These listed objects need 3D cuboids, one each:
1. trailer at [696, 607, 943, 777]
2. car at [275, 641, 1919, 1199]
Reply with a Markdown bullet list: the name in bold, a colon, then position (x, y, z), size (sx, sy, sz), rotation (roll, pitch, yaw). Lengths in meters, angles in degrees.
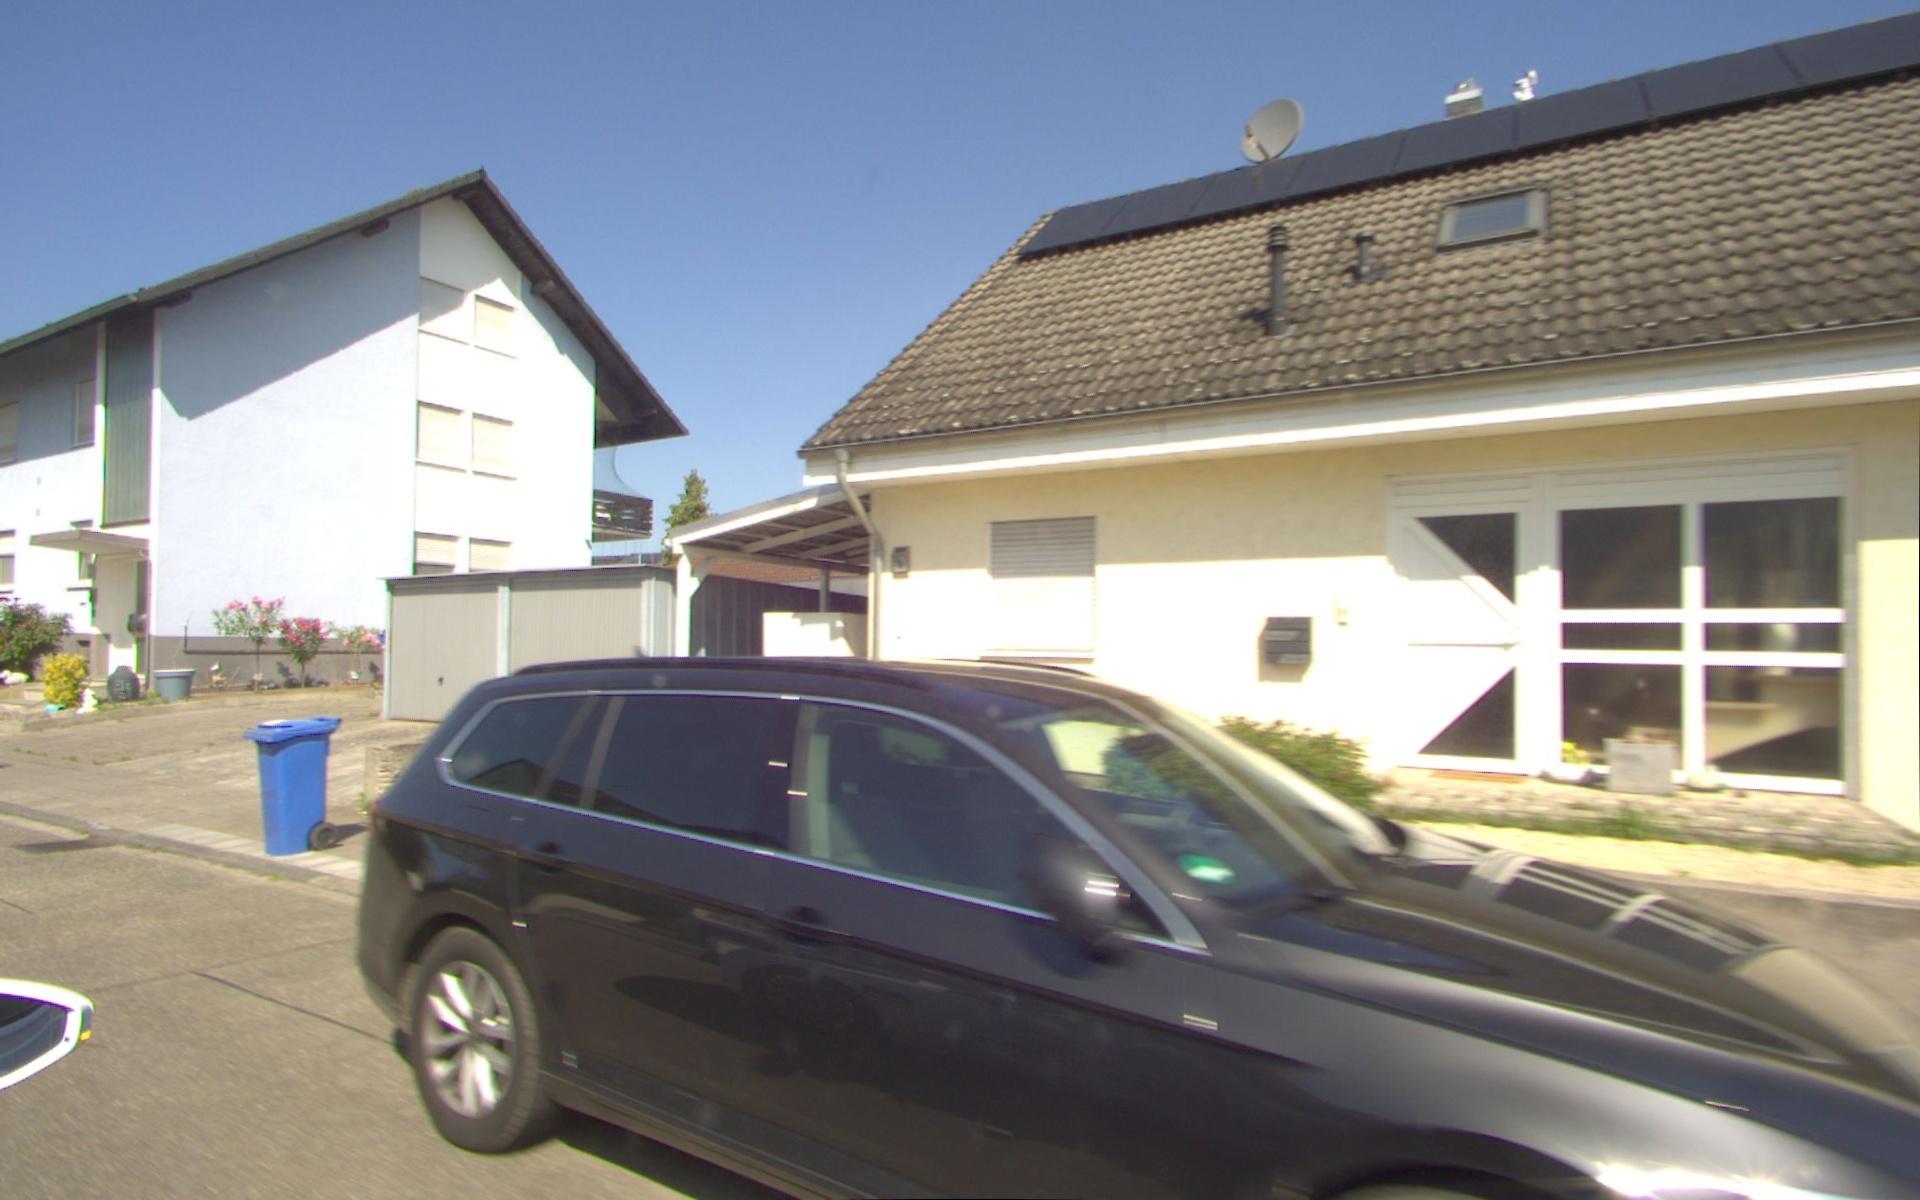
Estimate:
- **trailer**: position (-1.533, 0.985, 11.695), size (1.382, 1.711, 2.830), rotation (0, -2, 31)
- **car**: position (-0.100, 0.873, 3.068), size (4.439, 1.456, 1.714), rotation (-1, -2, 33)
